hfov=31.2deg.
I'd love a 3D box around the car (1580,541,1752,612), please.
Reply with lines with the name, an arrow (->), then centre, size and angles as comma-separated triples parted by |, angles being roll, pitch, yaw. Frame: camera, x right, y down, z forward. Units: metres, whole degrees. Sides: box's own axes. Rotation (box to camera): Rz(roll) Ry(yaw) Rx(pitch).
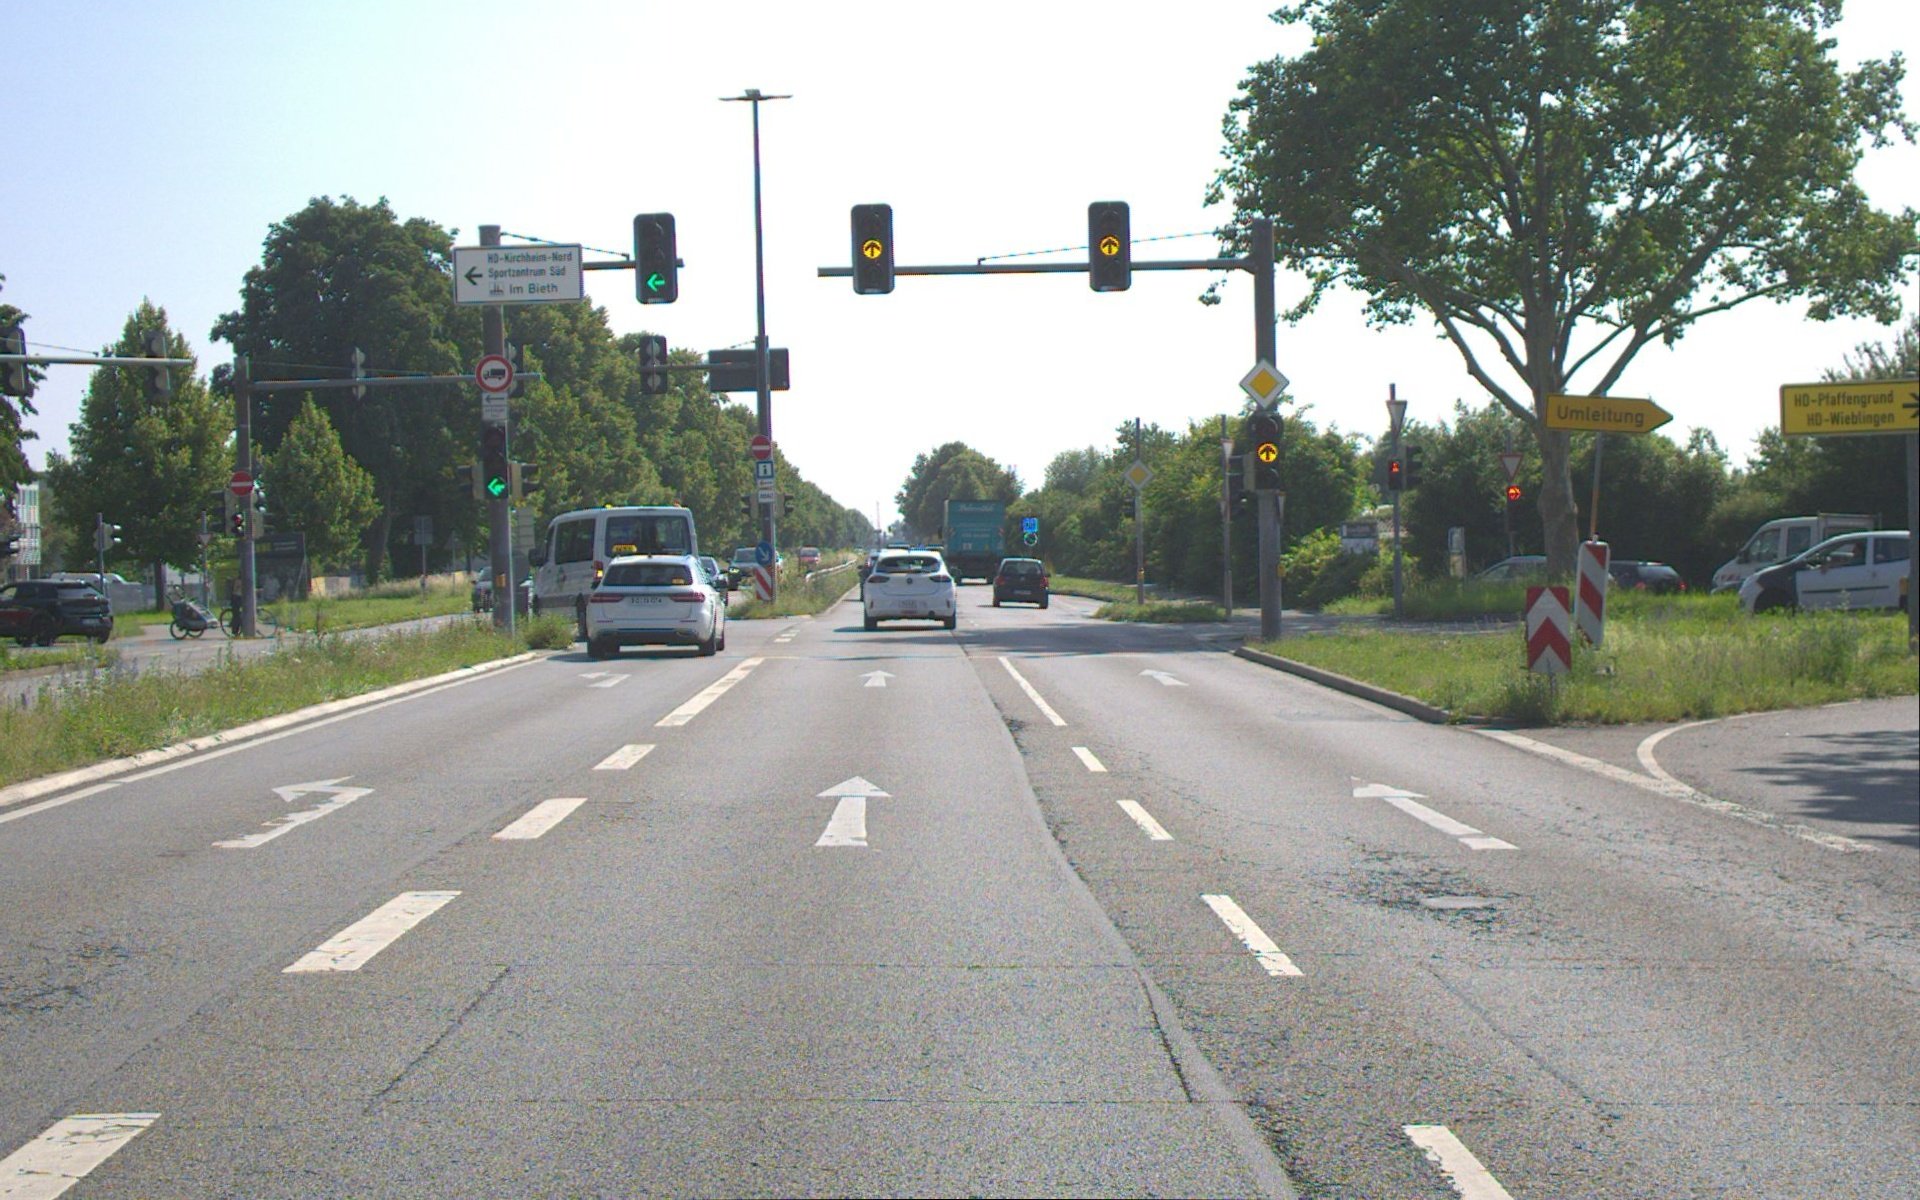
car -> 15.851, -0.514, 77.362 | 1.616, 1.542, 3.825 | 1, 0, -31

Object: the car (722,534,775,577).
car -> -8.055, -1.708, 131.373 | 1.846, 1.589, 4.617 | -1, 1, -2

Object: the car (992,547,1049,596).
car -> 1.749, -0.825, 100.545 | 1.572, 1.410, 3.277 | 0, 0, 0

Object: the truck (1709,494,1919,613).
truck -> 18.985, -0.932, 72.352 | 2.338, 2.378, 6.474 | 1, -1, -33

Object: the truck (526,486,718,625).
truck -> -6.318, -0.843, 63.523 | 2.373, 2.381, 6.042 | -2, 1, -16

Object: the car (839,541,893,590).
car -> -2.846, -1.053, 104.532 | 1.572, 1.409, 3.278 | -1, 1, -1

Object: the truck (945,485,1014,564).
truck -> 0.836, -3.435, 156.029 | 2.891, 3.417, 9.170 | -1, 1, -1

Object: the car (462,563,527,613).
car -> -14.396, -0.377, 106.449 | 1.485, 1.409, 3.762 | -4, 1, -1

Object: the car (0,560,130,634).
car -> -21.181, -0.083, 78.955 | 3.995, 1.643, 1.910 | 0, 1, 34

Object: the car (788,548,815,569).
car -> -11.653, -3.045, 252.737 | 1.912, 1.497, 4.091 | -1, 1, -2

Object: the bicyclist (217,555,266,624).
bicyclist -> -16.988, -0.257, 81.285 | 0.863, 1.613, 0.757 | 0, 0, 27

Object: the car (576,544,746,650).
car -> -4.379, -0.081, 51.002 | 1.812, 1.459, 4.970 | -1, 1, 3

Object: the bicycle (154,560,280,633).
bicycle -> -17.658, -0.084, 81.653 | 2.796, 1.664, 1.134 | -1, 1, 27

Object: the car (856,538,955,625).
car -> -0.993, -0.367, 64.335 | 1.798, 1.547, 4.000 | 0, 1, 0

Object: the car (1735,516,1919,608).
car -> 14.822, -0.627, 56.621 | 3.747, 1.464, 1.783 | 0, 1, 23
